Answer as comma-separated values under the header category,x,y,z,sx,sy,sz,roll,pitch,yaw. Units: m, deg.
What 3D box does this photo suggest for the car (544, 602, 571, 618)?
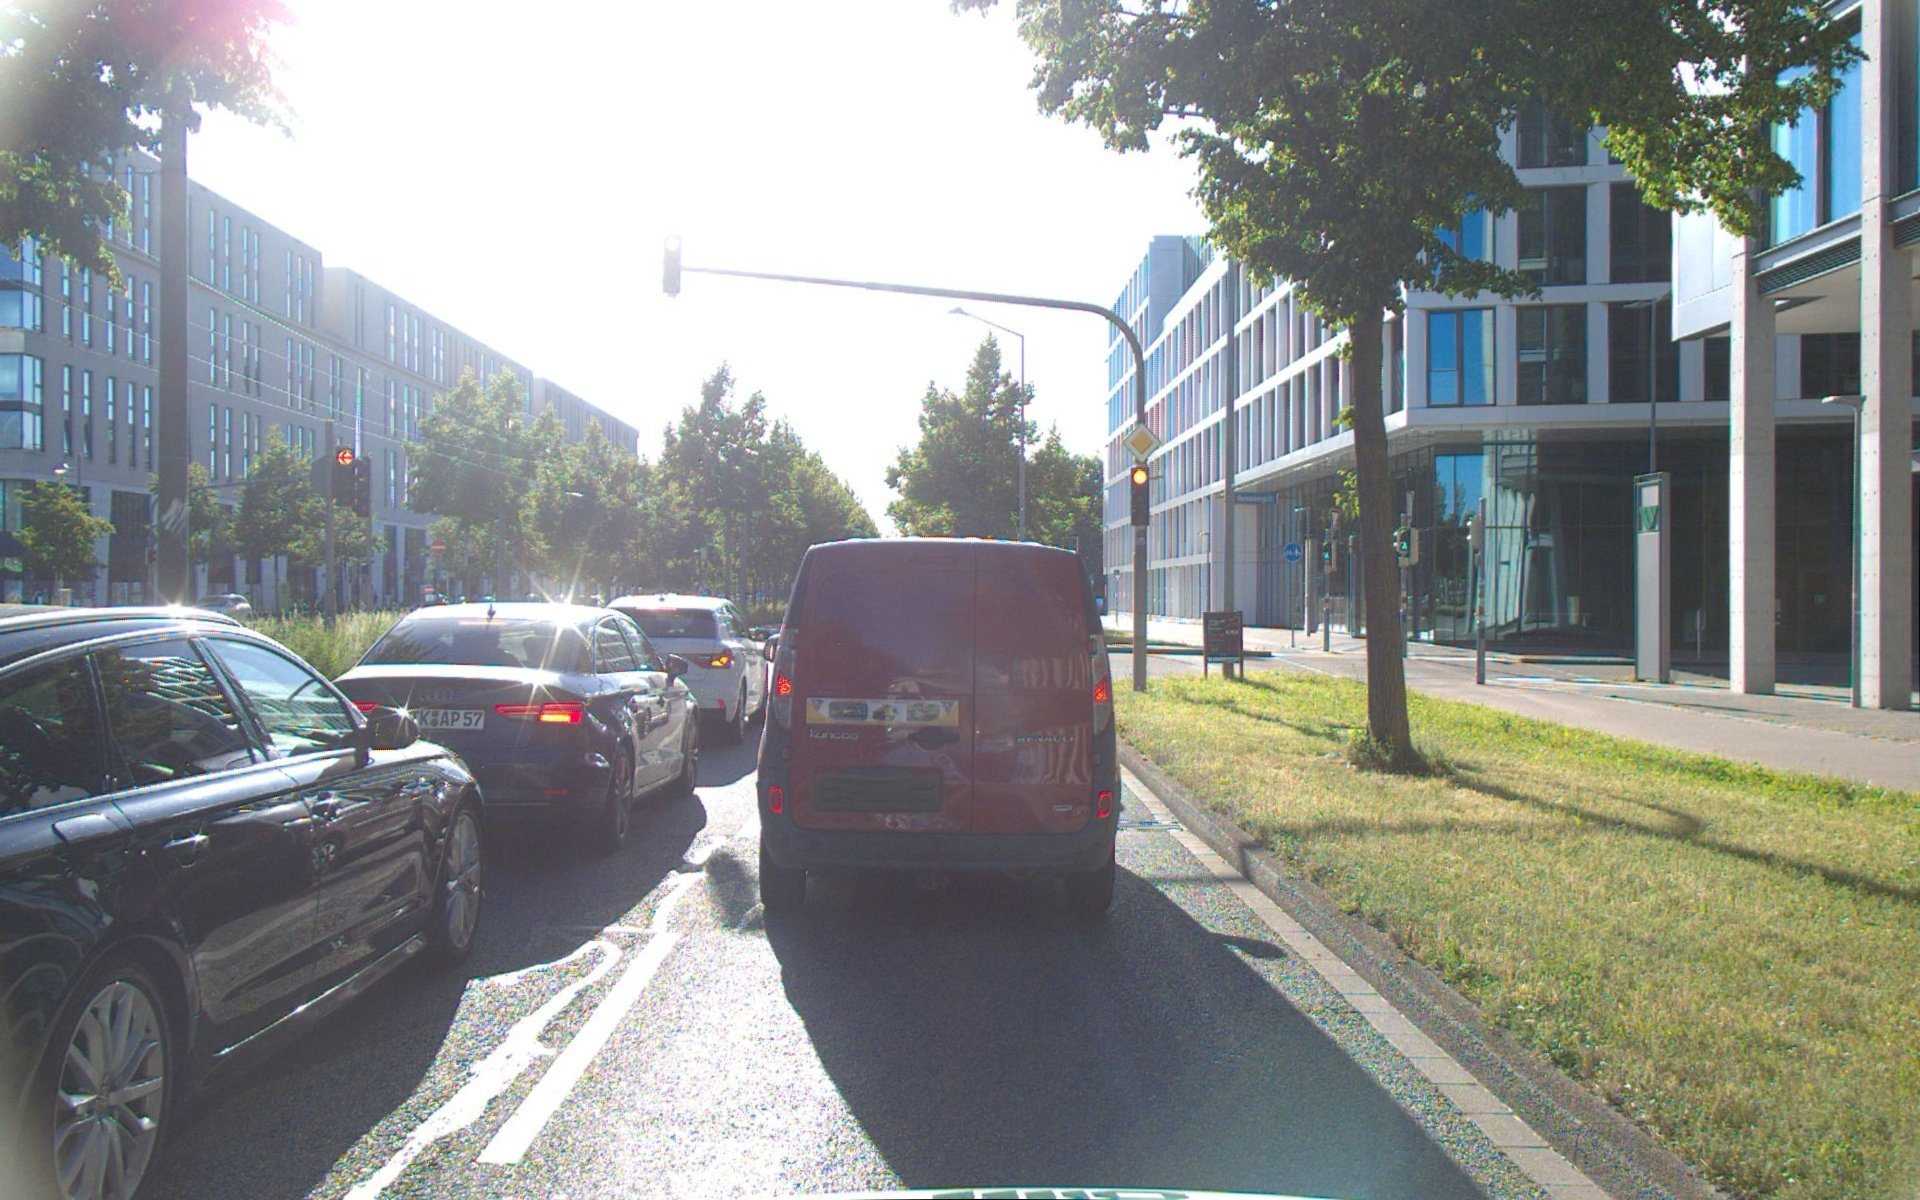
category,x,y,z,sx,sy,sz,roll,pitch,yaw
car,-36.170,0.906,148.689,1.548,1.366,3.711,0,0,-1

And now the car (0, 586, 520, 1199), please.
category,x,y,z,sx,sy,sz,roll,pitch,yaw
car,-2.737,0.704,4.821,1.771,1.482,4.507,0,0,-1

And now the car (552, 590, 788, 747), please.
category,x,y,z,sx,sy,sz,roll,pitch,yaw
car,-2.912,0.627,17.452,1.771,1.460,4.113,0,0,0

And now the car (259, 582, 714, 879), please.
category,x,y,z,sx,sy,sz,roll,pitch,yaw
car,-2.786,0.673,10.723,1.771,1.554,4.112,0,0,0

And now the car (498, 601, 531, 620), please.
category,x,y,z,sx,sy,sz,roll,pitch,yaw
car,-36.381,0.827,135.156,1.740,1.555,3.805,0,0,-1

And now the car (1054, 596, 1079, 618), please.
category,x,y,z,sx,sy,sz,roll,pitch,yaw
car,8.199,0.533,127.985,1.722,1.640,3.903,0,0,0

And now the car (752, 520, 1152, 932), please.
category,x,y,z,sx,sy,sz,roll,pitch,yaw
car,-0.038,0.551,9.405,1.771,1.825,4.113,0,0,0

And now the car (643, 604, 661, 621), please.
category,x,y,z,sx,sy,sz,roll,pitch,yaw
car,-36.963,1.475,198.563,1.694,2.049,3.998,0,0,-3

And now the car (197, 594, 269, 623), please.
category,x,y,z,sx,sy,sz,roll,pitch,yaw
car,-34.598,0.401,78.875,1.548,1.366,4.470,0,0,-1
